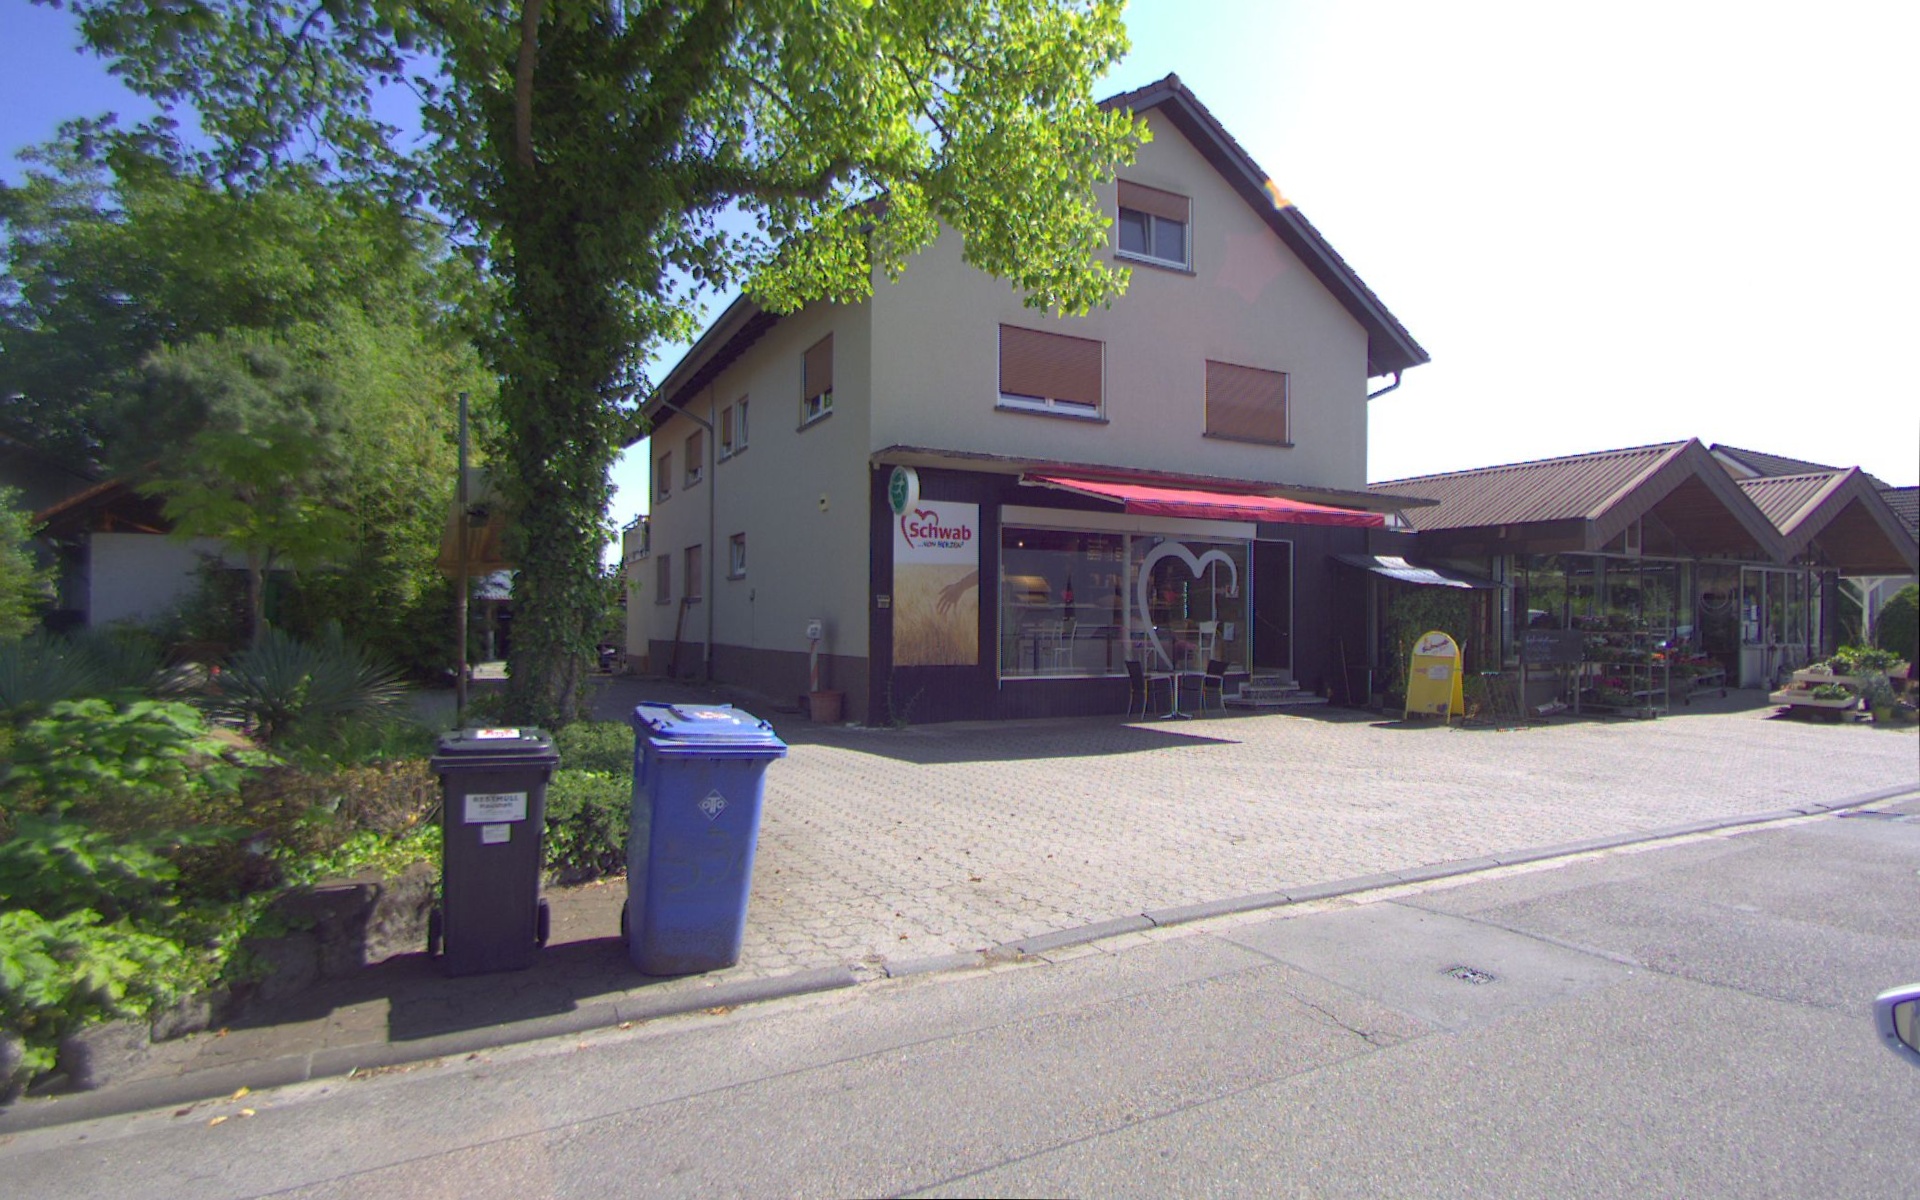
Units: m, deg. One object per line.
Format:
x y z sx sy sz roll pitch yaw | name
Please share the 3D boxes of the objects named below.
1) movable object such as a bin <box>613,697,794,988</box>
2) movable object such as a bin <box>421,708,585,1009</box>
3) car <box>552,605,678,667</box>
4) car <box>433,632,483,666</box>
-1.151 1.006 4.442 0.605 1.068 0.728 1 0 -29 | movable object such as a bin
-1.885 1.003 4.122 0.561 1.038 0.580 1 0 -29 | movable object such as a bin
-14.270 1.483 41.554 4.595 2.441 2.178 1 -2 -30 | car
-22.475 2.152 45.083 1.877 1.461 3.976 1 -2 -25 | car
